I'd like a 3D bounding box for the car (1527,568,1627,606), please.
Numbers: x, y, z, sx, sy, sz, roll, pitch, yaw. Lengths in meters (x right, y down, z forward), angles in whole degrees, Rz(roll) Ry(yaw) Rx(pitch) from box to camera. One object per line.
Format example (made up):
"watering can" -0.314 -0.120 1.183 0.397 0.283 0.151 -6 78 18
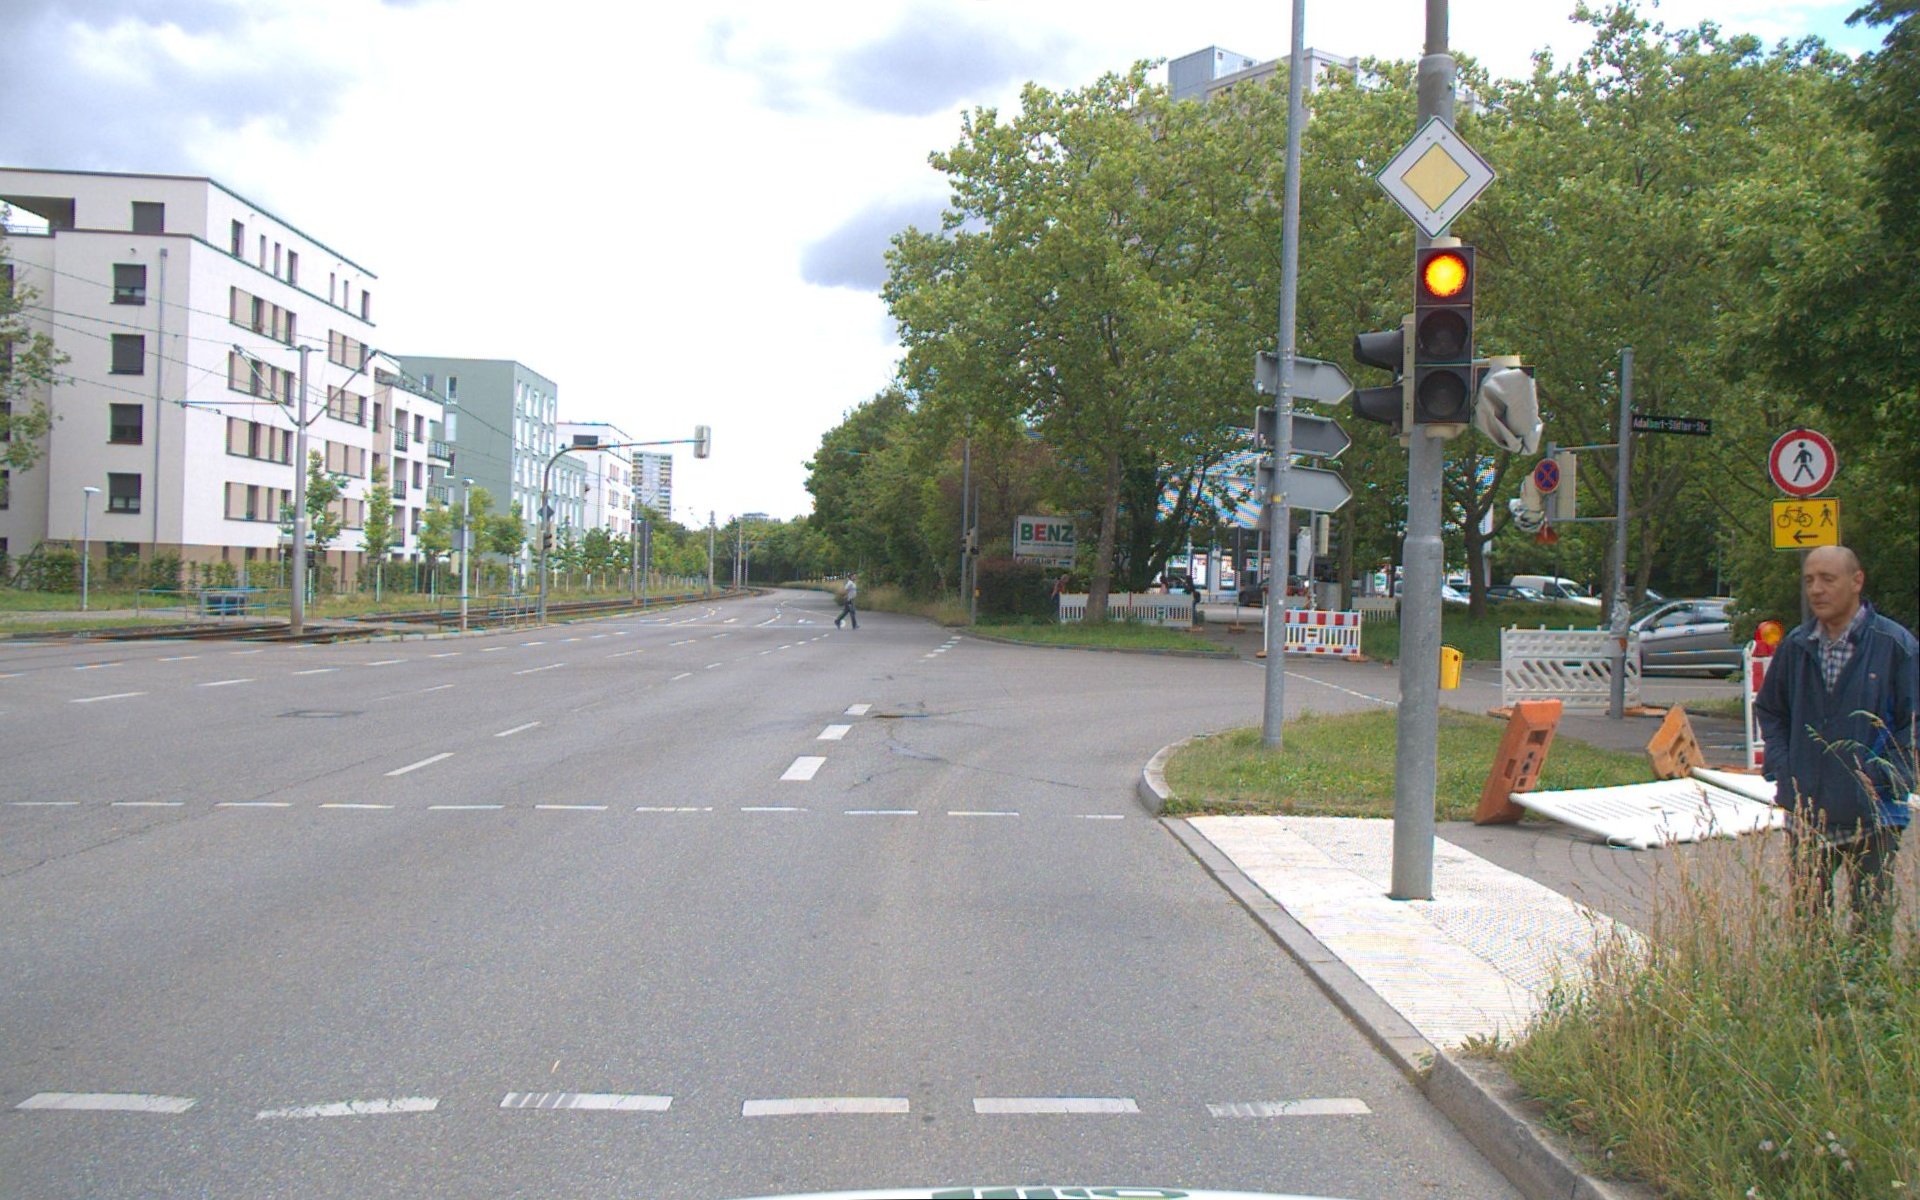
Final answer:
"car" 25.719 -0.538 69.063 1.465 1.491 3.851 1 0 -31

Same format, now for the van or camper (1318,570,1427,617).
"van or camper" 15.488 -0.259 62.230 1.819 1.713 3.964 0 1 -28

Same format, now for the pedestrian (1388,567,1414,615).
"pedestrian" 18.894 -0.388 70.861 0.789 2.037 0.852 1 -1 -5

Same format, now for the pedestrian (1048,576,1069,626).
"pedestrian" 3.090 0.030 51.943 0.639 1.565 0.773 1 -1 3

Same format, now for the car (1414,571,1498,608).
"car" 24.051 -0.505 80.248 1.650 1.663 3.783 1 1 -31

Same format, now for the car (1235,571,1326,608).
"car" 14.059 -0.449 72.726 1.708 1.526 4.232 1 0 -27

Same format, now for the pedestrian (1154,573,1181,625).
"pedestrian" 6.180 -0.024 49.278 0.682 1.515 0.688 1 -1 18

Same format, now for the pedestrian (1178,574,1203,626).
"pedestrian" 6.800 -0.006 48.839 0.682 1.515 0.721 1 -1 11

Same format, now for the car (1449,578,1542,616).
"car" 21.094 -0.123 65.250 1.464 1.429 3.375 1 0 -30

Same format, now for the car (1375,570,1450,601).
"car" 21.466 -0.692 78.551 1.465 1.429 3.372 1 0 -31

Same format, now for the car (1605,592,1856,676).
"car" 15.710 0.684 33.859 4.307 1.614 1.772 1 0 0

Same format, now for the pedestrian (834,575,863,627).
"pedestrian" -3.513 0.020 52.107 0.831 1.614 0.796 1 -1 1

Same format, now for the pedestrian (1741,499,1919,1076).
"pedestrian" 3.056 0.572 5.559 0.712 1.770 0.954 1 0 28

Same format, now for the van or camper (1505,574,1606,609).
"van or camper" 24.121 -0.337 67.128 1.499 1.380 3.732 1 0 -33
